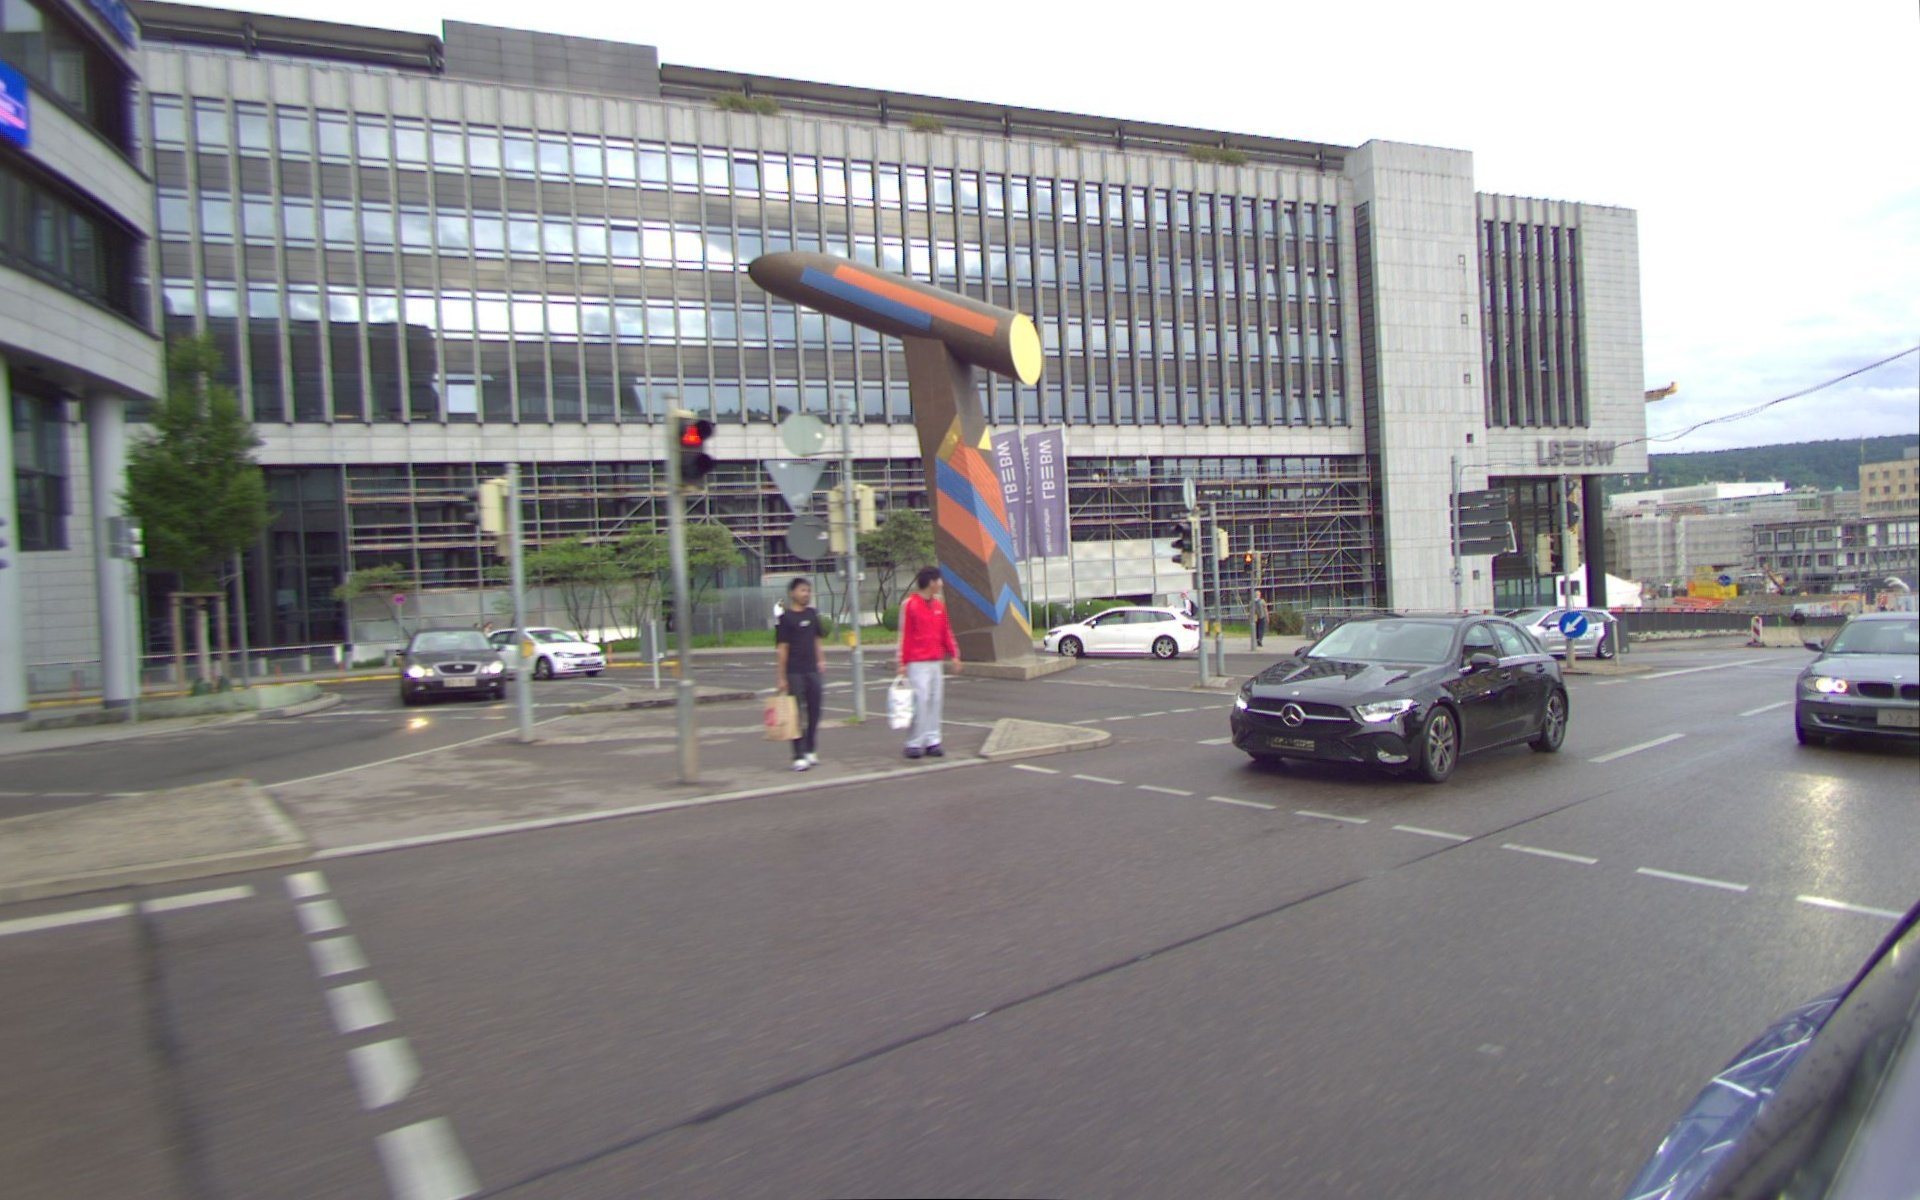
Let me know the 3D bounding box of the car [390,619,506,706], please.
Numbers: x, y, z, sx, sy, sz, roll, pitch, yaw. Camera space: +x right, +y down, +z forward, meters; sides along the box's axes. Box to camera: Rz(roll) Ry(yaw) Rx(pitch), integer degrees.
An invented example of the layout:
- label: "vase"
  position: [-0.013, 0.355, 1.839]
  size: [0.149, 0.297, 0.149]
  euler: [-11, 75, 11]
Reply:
- label: "car"
  position: [-10.430, 1.163, 20.542]
  size: [1.830, 1.460, 4.719]
  euler: [-3, 0, -28]

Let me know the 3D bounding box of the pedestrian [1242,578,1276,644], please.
- label: "pedestrian"
  position: [9.910, 0.371, 33.513]
  size: [0.846, 2.126, 0.896]
  euler: [-3, -3, 27]

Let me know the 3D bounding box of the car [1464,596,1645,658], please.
- label: "car"
  position: [16.350, 0.711, 27.858]
  size: [4.519, 1.469, 1.709]
  euler: [-2, -1, -19]

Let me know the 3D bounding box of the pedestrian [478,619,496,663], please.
- label: "pedestrian"
  position: [-19.031, 1.644, 40.717]
  size: [0.541, 1.769, 0.563]
  euler: [0, -2, -13]

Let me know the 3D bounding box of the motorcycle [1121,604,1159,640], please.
- label: "motorcycle"
  position: [6.521, 0.789, 36.752]
  size: [1.240, 1.287, 0.610]
  euler: [0, 0, 43]

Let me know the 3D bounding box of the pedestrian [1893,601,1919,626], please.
- label: "pedestrian"
  position: [63.070, 0.880, 67.439]
  size: [0.933, 1.613, 0.865]
  euler: [-2, 0, -12]

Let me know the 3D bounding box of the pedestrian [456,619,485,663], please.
- label: "pedestrian"
  position: [-20.043, 1.674, 41.444]
  size: [0.885, 1.769, 0.946]
  euler: [0, -2, -13]

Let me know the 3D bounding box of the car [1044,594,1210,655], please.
- label: "car"
  position: [4.787, 0.699, 28.906]
  size: [4.518, 1.655, 1.767]
  euler: [-1, -1, 17]

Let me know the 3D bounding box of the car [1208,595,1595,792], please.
- label: "car"
  position: [4.380, 0.712, 9.742]
  size: [4.153, 1.425, 1.758]
  euler: [-2, 0, -40]

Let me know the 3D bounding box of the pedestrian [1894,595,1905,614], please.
- label: "pedestrian"
  position: [85.271, 0.401, 91.856]
  size: [0.485, 1.770, 0.569]
  euler: [-2, 0, -21]

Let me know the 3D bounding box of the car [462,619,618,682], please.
- label: "car"
  position: [-11.622, 1.404, 27.976]
  size: [3.962, 1.459, 1.850]
  euler: [-4, 1, 28]

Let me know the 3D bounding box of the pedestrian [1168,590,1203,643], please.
- label: "pedestrian"
  position: [7.580, 0.544, 34.039]
  size: [0.829, 1.732, 0.731]
  euler: [-3, 0, -41]

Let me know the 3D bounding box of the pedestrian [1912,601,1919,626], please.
- label: "pedestrian"
  position: [63.523, 0.869, 66.695]
  size: [0.788, 1.595, 0.735]
  euler: [-2, -1, -12]

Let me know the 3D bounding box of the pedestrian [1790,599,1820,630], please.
- label: "pedestrian"
  position: [46.544, 0.809, 55.729]
  size: [1.039, 1.673, 0.733]
  euler: [-1, 0, -12]

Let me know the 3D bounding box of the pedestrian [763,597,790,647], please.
- label: "pedestrian"
  position: [-6.873, 0.812, 37.875]
  size: [0.766, 1.840, 0.971]
  euler: [-2, 0, 1]

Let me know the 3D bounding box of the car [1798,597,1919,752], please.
- label: "car"
  position: [10.604, 0.715, 11.062]
  size: [3.933, 1.461, 1.742]
  euler: [0, 0, -43]

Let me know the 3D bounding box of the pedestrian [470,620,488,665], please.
- label: "pedestrian"
  position: [-18.985, 1.668, 39.979]
  size: [0.541, 1.769, 0.563]
  euler: [0, -2, -13]

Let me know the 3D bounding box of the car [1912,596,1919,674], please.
- label: "car"
  position: [21.531, 0.683, 20.865]
  size: [4.139, 1.568, 1.970]
  euler: [0, -1, -35]

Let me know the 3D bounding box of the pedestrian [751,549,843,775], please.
- label: "pedestrian"
  position: [-1.489, 0.525, 9.161]
  size: [0.716, 1.928, 0.845]
  euler: [-1, 0, -14]

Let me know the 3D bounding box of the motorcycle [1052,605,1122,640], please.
- label: "motorcycle"
  position: [4.510, 0.768, 36.069]
  size: [2.564, 1.094, 0.625]
  euler: [3, 2, 43]

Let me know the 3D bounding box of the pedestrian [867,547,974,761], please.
- label: "pedestrian"
  position: [-0.395, 0.483, 9.682]
  size: [0.843, 1.928, 0.845]
  euler: [-1, 0, -14]

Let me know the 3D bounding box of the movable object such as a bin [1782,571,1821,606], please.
- label: "movable object such as a bin"
  position: [87.758, -1.253, 105.527]
  size: [4.149, 3.451, 1.944]
  euler: [-3, 0, -33]
